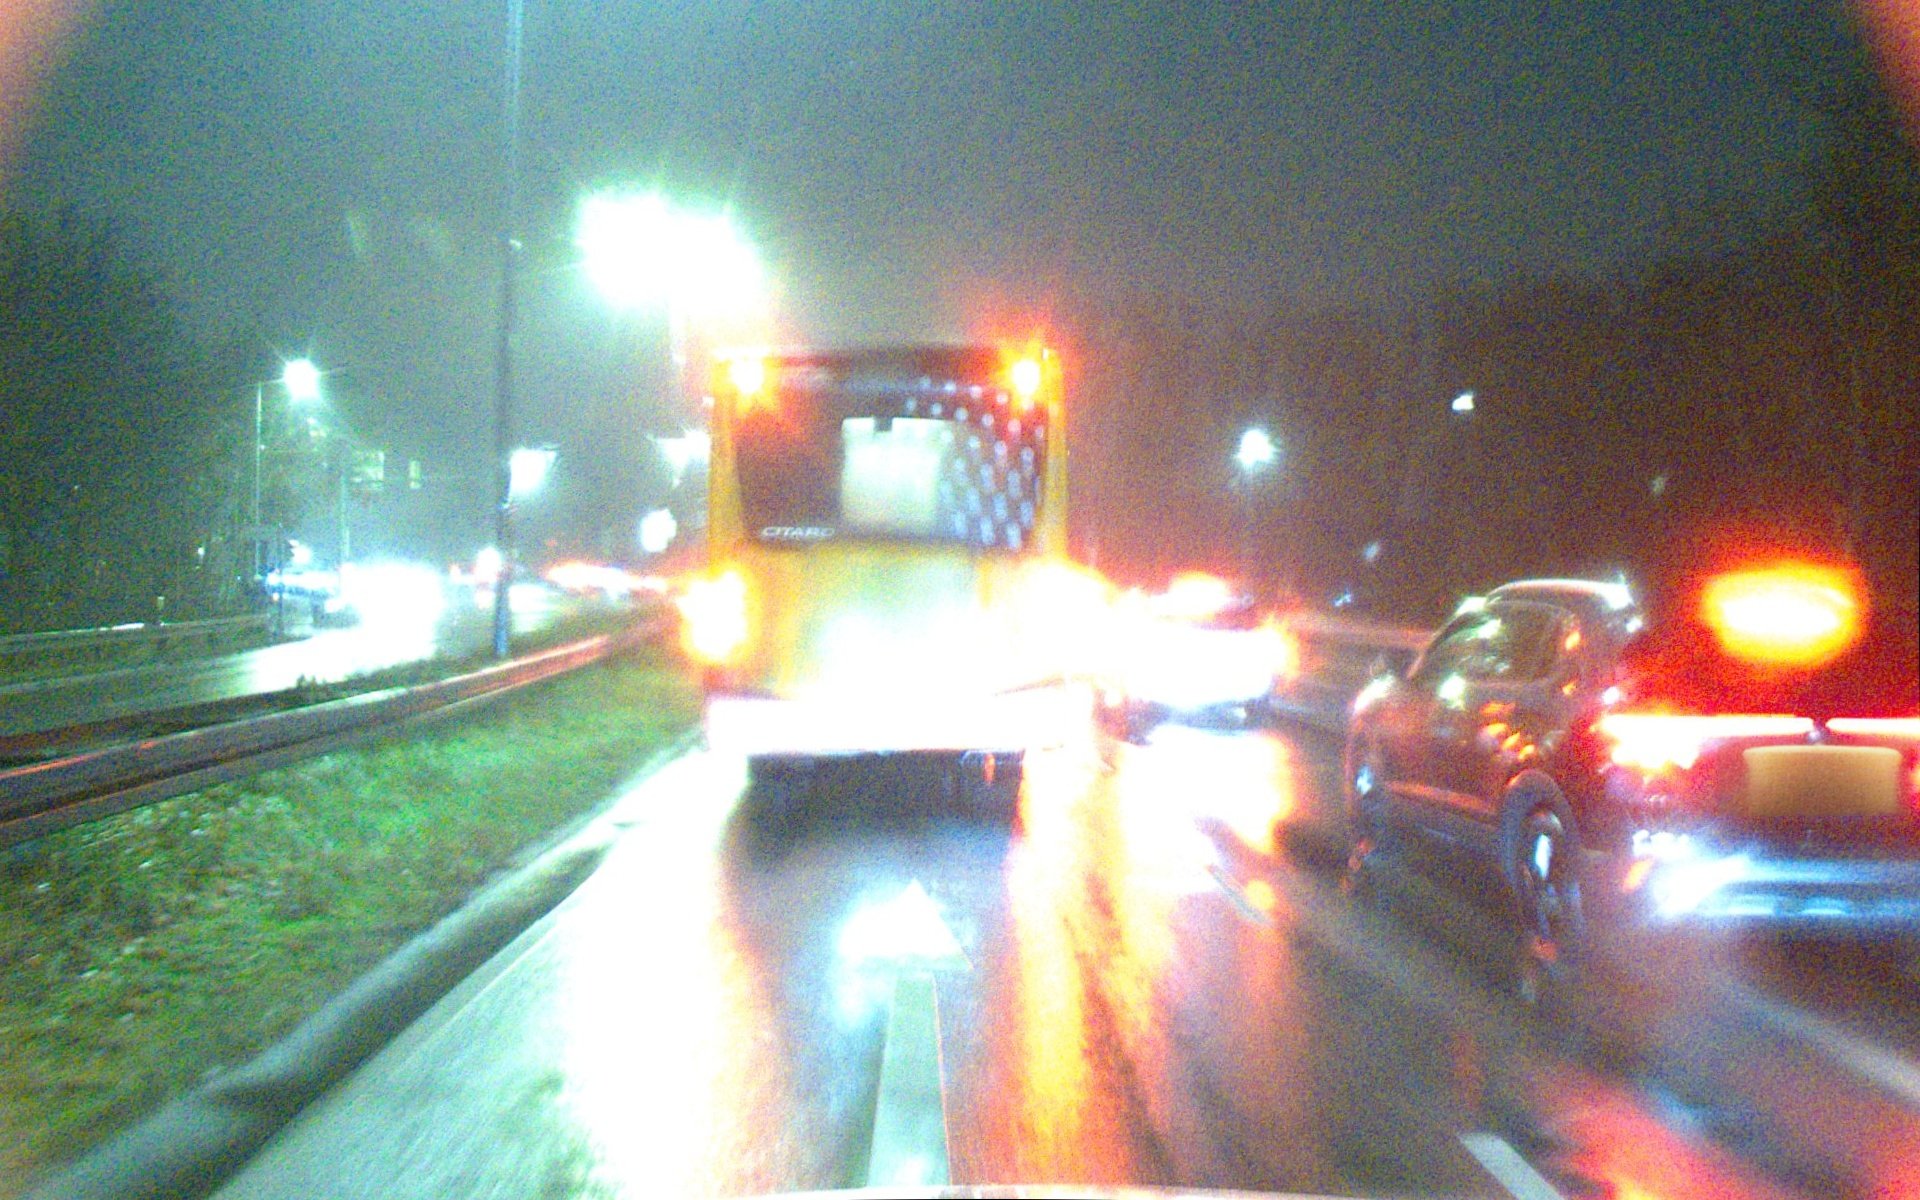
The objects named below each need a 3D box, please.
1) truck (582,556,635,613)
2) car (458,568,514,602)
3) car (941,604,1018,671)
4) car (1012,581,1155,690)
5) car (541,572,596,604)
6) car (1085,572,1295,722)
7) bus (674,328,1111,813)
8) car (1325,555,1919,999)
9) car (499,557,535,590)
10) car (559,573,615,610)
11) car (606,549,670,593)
[{"bbox_3d":[-16.617,-0.769,78.055,1.828,2.434,4.752,-1,3,-20],"label":"truck"},{"bbox_3d":[-29.103,-0.902,101.510,2.192,2.049,3.952,0,0,-34],"label":"car"},{"bbox_3d":[0.459,0.918,42.338,1.744,1.570,3.873,2,0,-2],"label":"car"},{"bbox_3d":[1.888,0.516,26.392,1.783,1.618,3.774,0,0,-4],"label":"car"},{"bbox_3d":[-21.338,-0.671,90.072,1.736,1.659,3.579,2,-1,-35],"label":"car"},{"bbox_3d":[2.640,0.496,19.792,1.783,1.618,3.774,0,0,-4],"label":"car"},{"bbox_3d":[-0.584,-0.198,15.056,2.759,3.077,8.683,1,0,-2],"label":"bus"},{"bbox_3d":[3.138,0.650,7.933,1.705,1.592,3.774,2,0,-4],"label":"car"},{"bbox_3d":[-29.426,-1.744,110.002,2.085,2.049,3.986,2,-1,-13],"label":"car"},{"bbox_3d":[-21.660,-0.500,95.893,1.975,2.049,3.956,0,0,-32],"label":"car"},{"bbox_3d":[-16.120,-1.426,82.631,1.972,2.049,3.961,2,-1,-29],"label":"car"}]
